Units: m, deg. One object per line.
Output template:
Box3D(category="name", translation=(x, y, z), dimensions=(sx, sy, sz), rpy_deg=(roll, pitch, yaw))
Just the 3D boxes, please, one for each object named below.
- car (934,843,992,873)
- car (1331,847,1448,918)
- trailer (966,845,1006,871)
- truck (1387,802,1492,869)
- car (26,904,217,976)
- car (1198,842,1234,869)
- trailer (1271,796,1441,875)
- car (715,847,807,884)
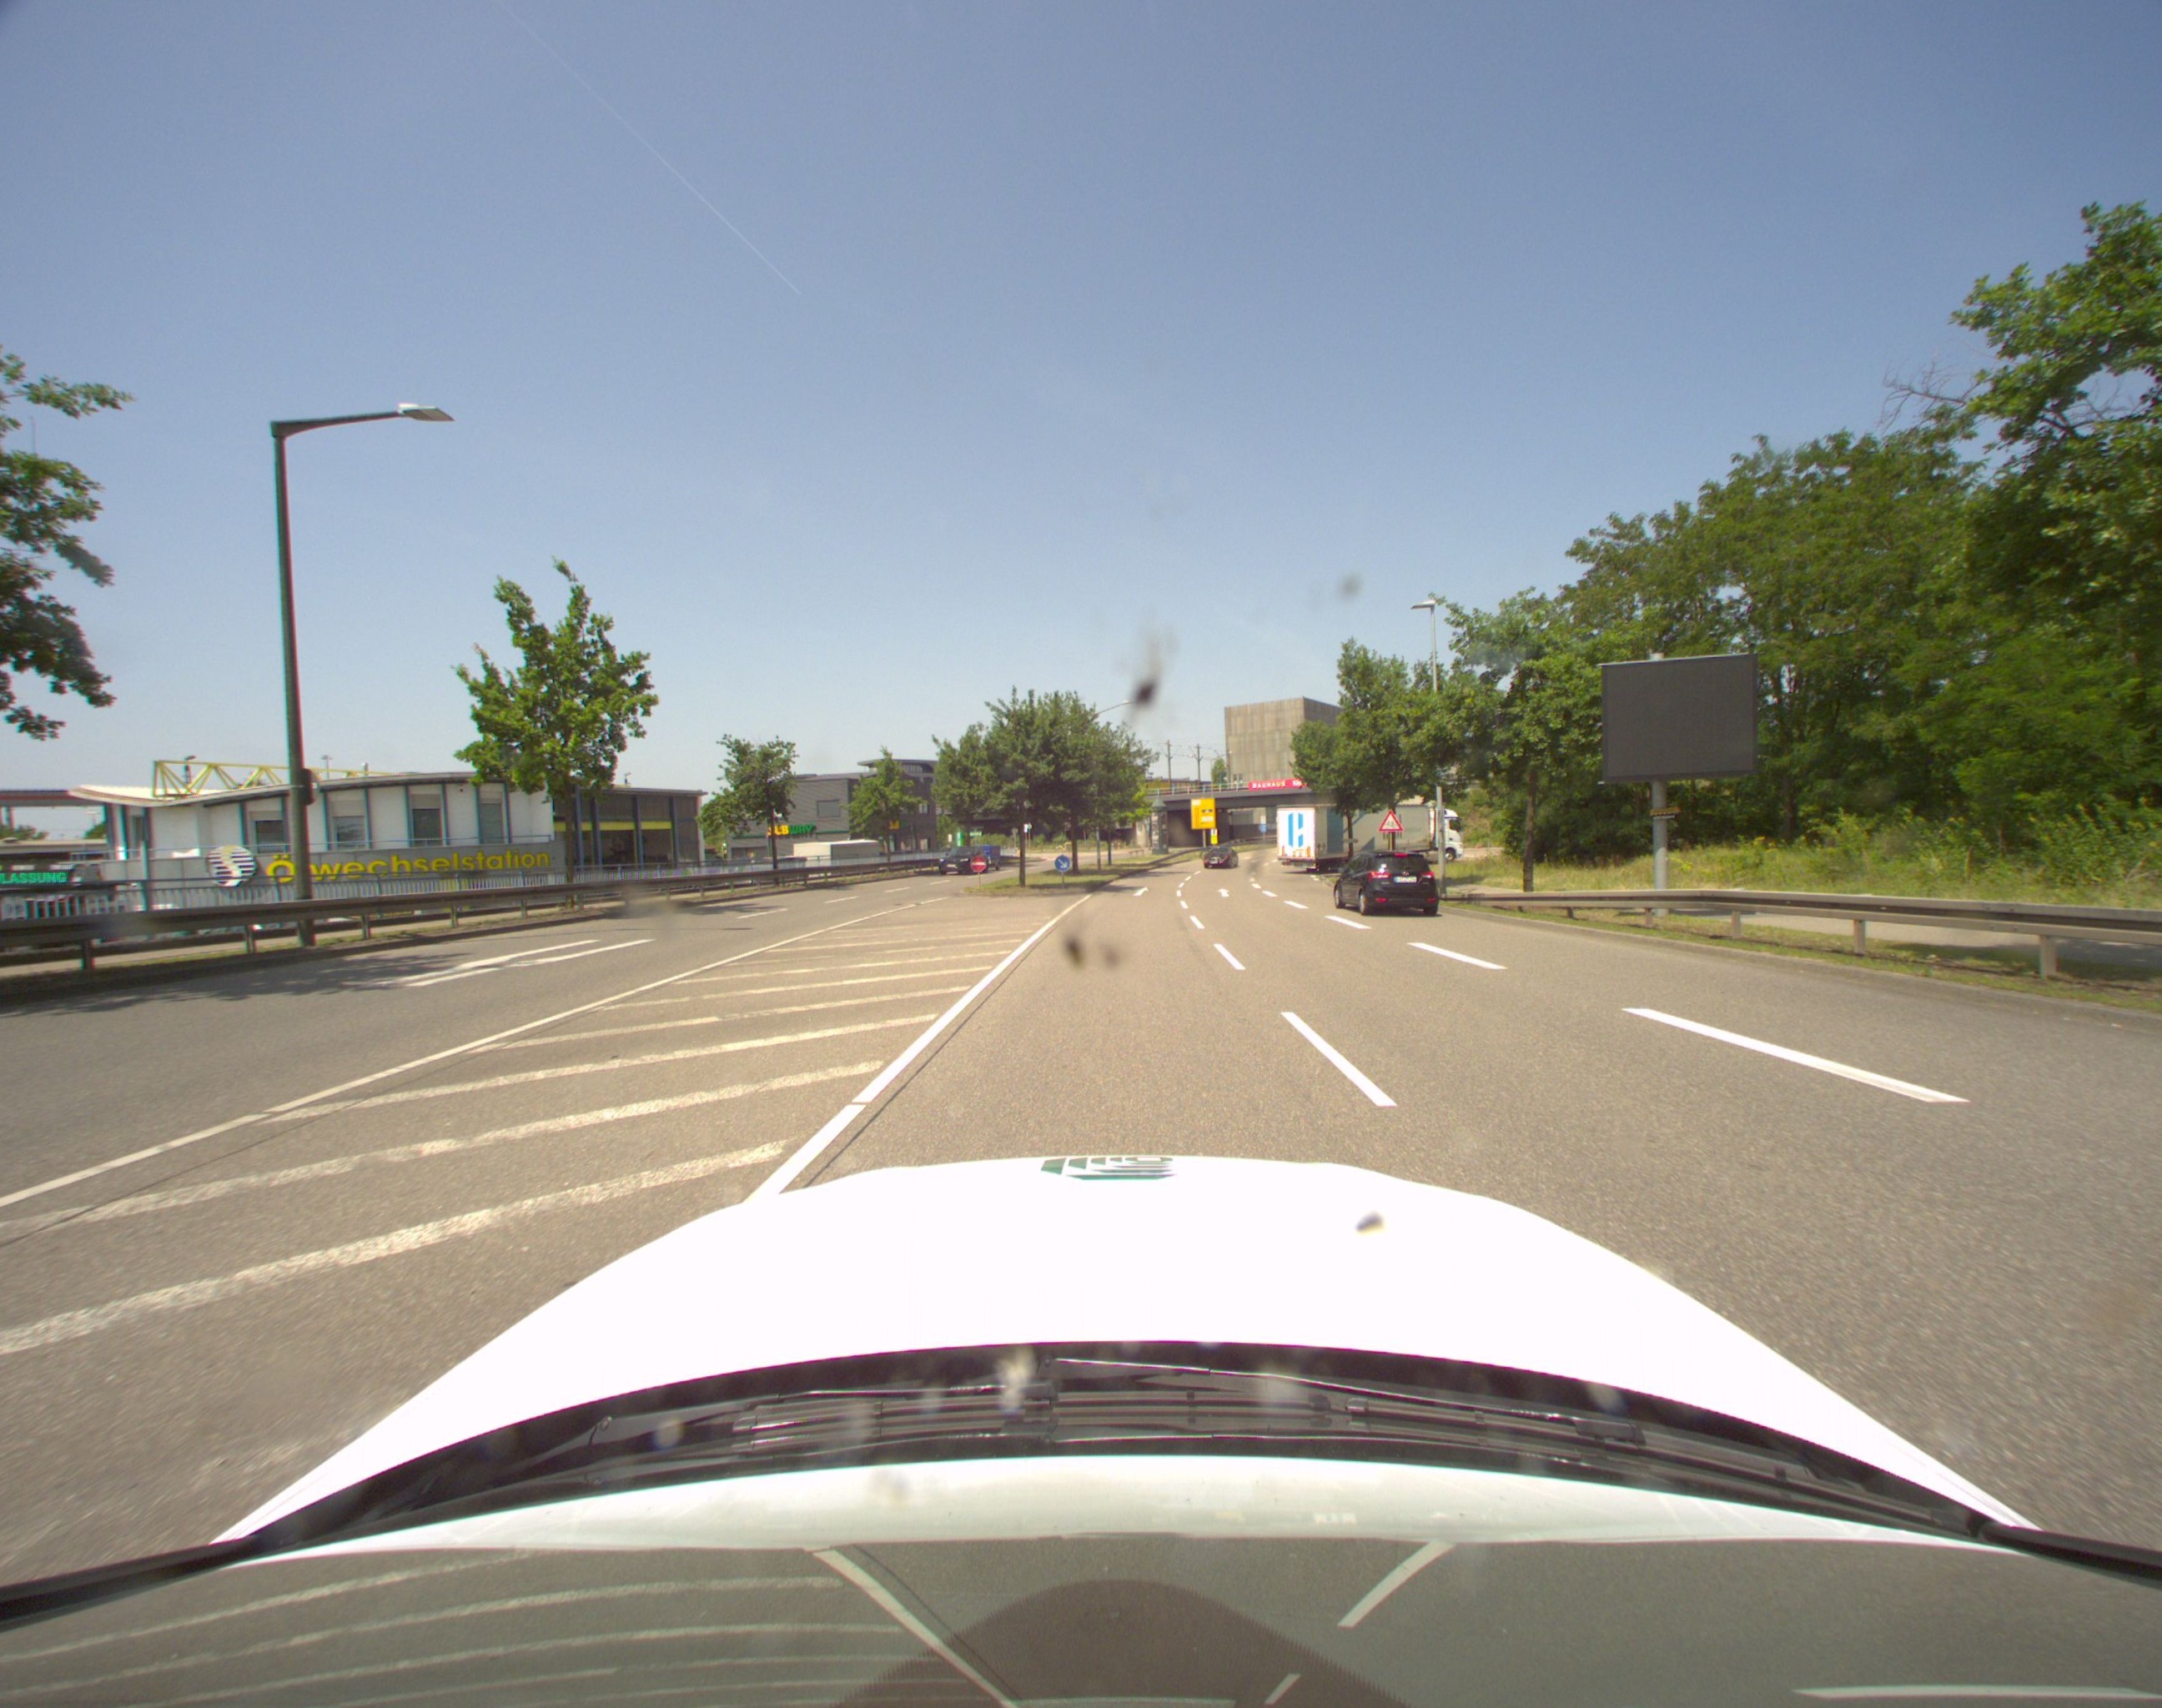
Box3D(category="car", translation=(-6.879, 0.237, 48.000), dimensions=(1.901, 1.652, 4.423), rpy_deg=(-1, 0, 12))
Box3D(category="car", translation=(7.747, 0.650, 20.827), dimensions=(1.758, 1.599, 4.084), rpy_deg=(-1, 0, 5))
Box3D(category="trailer", translation=(-6.029, 0.235, 51.786), dimensions=(1.495, 1.615, 3.319), rpy_deg=(-1, 0, 12))
Box3D(category="truck", translation=(24.429, -1.248, 55.620), dimensions=(6.079, 4.367, 3.066), rpy_deg=(0, 2, -20))
Box3D(category="car", translation=(-30.262, 2.678, 25.755), dimensions=(3.965, 2.013, 2.005), rpy_deg=(-1, 1, 7))
Box3D(category="car", translation=(8.980, 0.078, 53.766), dimensions=(1.942, 1.633, 4.297), rpy_deg=(-1, 2, 14))
Box3D(category="trailer", translation=(17.642, -1.167, 51.107), dimensions=(14.853, 4.367, 3.052), rpy_deg=(-1, 2, -42))
Box3D(category="car", translation=(-15.618, 0.515, 40.005), dimensions=(1.885, 1.569, 4.655), rpy_deg=(-4, 0, 11))
